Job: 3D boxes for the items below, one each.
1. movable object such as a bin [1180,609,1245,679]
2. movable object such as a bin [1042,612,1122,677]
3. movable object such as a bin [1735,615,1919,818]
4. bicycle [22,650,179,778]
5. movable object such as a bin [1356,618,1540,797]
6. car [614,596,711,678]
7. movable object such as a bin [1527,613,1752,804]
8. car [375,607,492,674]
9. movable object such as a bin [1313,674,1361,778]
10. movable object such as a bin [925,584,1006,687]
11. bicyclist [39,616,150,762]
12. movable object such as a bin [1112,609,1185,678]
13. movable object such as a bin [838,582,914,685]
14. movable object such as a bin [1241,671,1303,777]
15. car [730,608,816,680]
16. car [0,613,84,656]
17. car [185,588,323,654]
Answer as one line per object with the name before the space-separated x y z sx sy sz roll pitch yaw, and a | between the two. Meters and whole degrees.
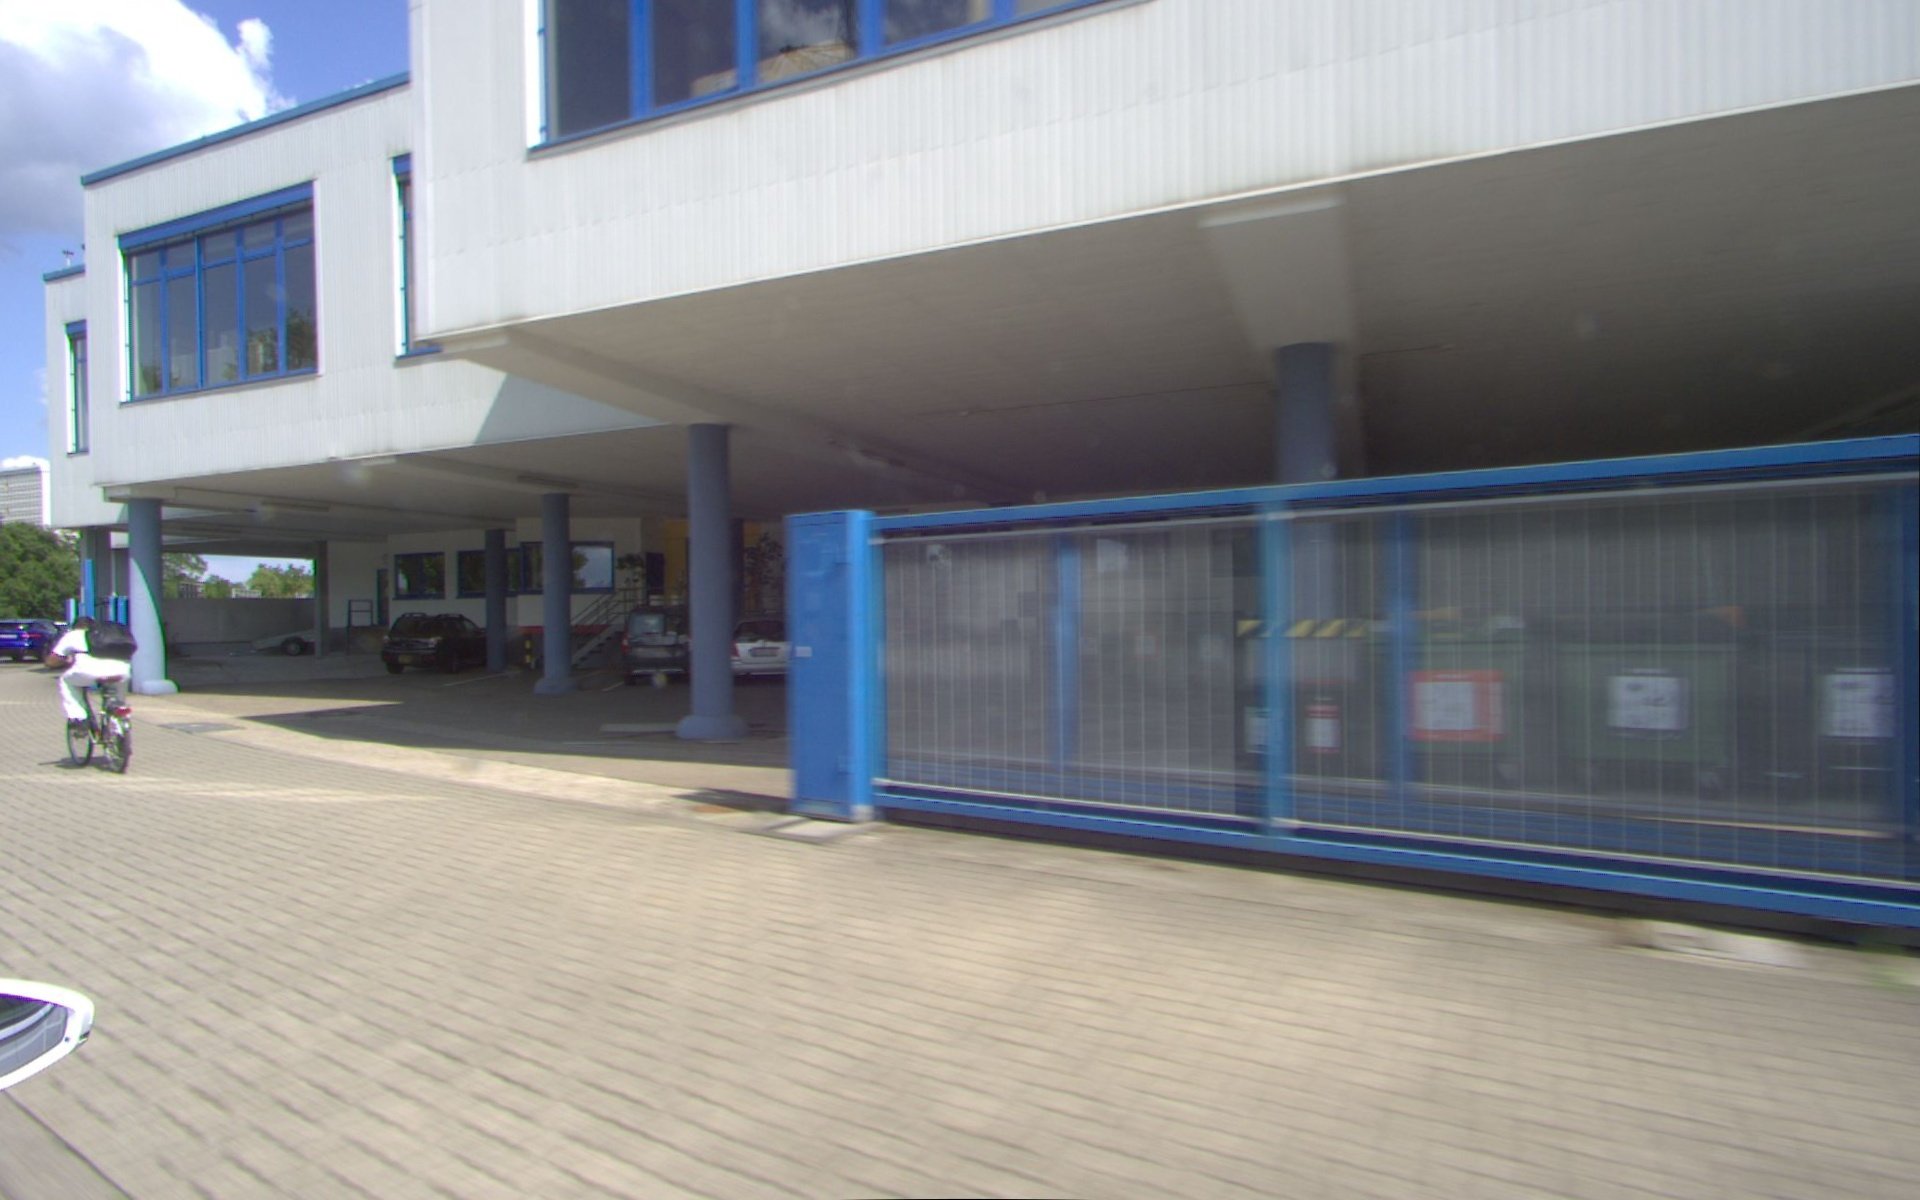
movable object such as a bin | 5.563 0.941 22.031 1.270 1.488 1.336 0 0 20
movable object such as a bin | 2.825 0.995 23.124 1.546 1.423 1.466 0 0 20
movable object such as a bin | 6.805 0.834 7.497 1.381 1.431 0.805 -1 -1 21
bicycle | -8.722 1.100 10.133 2.138 1.123 0.665 -1 0 34
movable object such as a bin | 4.146 0.881 8.630 1.334 1.431 0.805 -1 -1 21
car | -7.085 0.871 24.238 1.726 1.804 4.103 1 -1 -9
movable object such as a bin | 5.432 0.833 8.112 1.334 1.431 0.805 -1 -1 21
car | -15.059 1.108 28.875 1.638 1.681 3.660 1 1 -4
movable object such as a bin | 3.570 1.176 9.493 0.410 0.922 0.599 -1 -1 20
movable object such as a bin | 0.074 0.775 22.214 1.293 2.112 2.915 1 -1 -9
bicyclist | -8.854 0.872 10.250 0.846 1.416 0.661 0 0 34
movable object such as a bin | 4.255 0.954 22.527 1.413 1.488 1.336 0 0 20
movable object such as a bin | -1.943 0.743 22.498 1.407 2.112 3.434 1 -1 -9
movable object such as a bin | 3.027 1.178 9.692 0.535 0.955 0.589 -1 -1 20
car | -4.361 1.072 23.569 1.808 1.565 3.664 1 -3 -9
car | -36.631 1.356 39.621 1.887 1.613 4.681 0 -2 -27
car | -23.807 0.775 33.844 3.681 2.038 1.986 3 -4 -37
